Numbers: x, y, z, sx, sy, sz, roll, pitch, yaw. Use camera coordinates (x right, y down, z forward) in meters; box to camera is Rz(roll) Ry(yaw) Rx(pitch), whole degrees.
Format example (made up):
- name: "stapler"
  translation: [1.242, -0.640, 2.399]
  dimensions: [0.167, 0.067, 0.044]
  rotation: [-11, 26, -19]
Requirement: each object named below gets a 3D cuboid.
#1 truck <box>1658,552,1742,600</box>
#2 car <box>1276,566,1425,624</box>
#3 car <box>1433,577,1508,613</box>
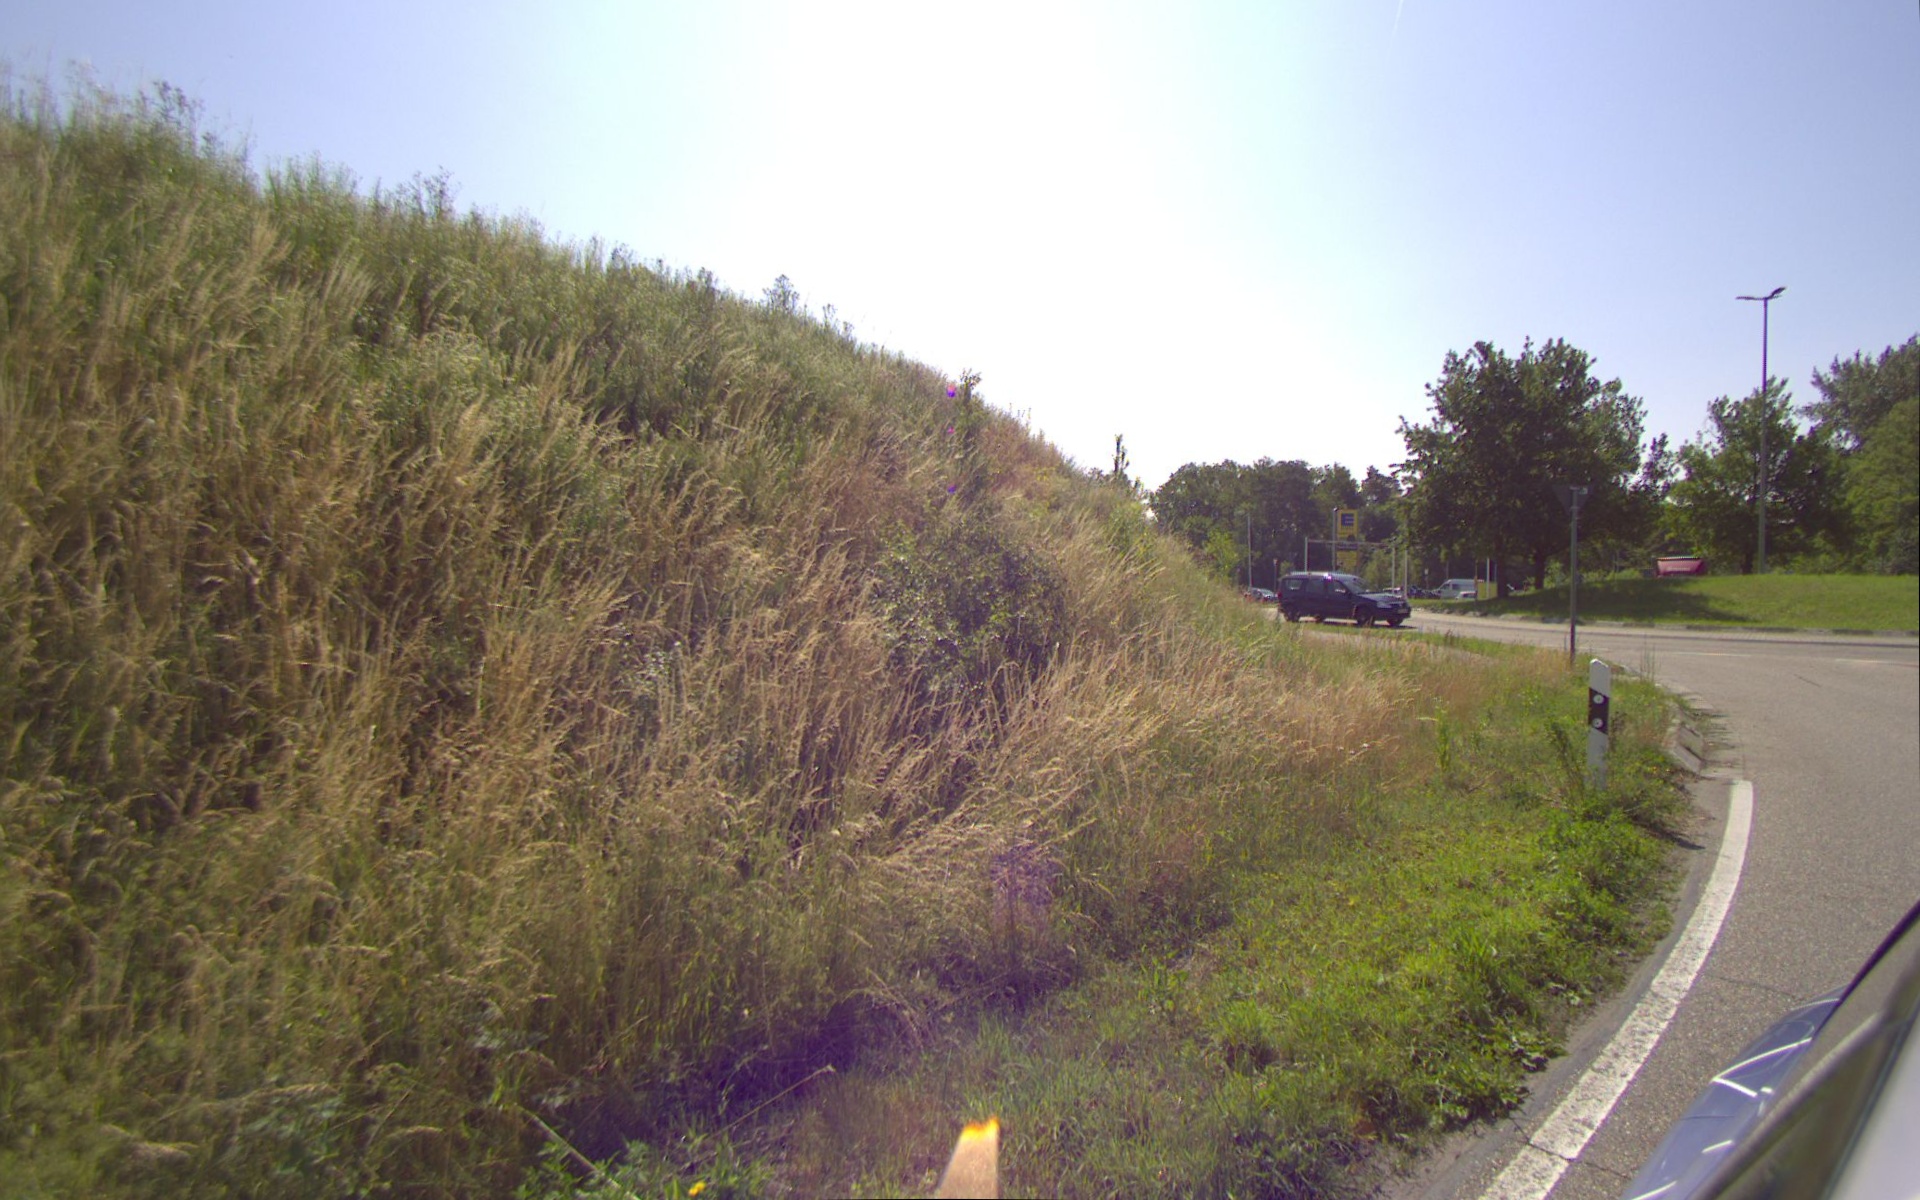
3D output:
- name: "truck"
  translation: [47.632, -1.529, 65.024]
  dimensions: [8.899, 2.866, 2.477]
  rotation: [-1, 1, -41]
- name: "car"
  translation: [12.522, -0.209, 32.732]
  dimensions: [1.675, 1.676, 4.355]
  rotation: [-4, 3, -32]
- name: "car"
  translation: [38.313, -0.399, 76.026]
  dimensions: [4.815, 2.563, 1.832]
  rotation: [1, 1, 35]
